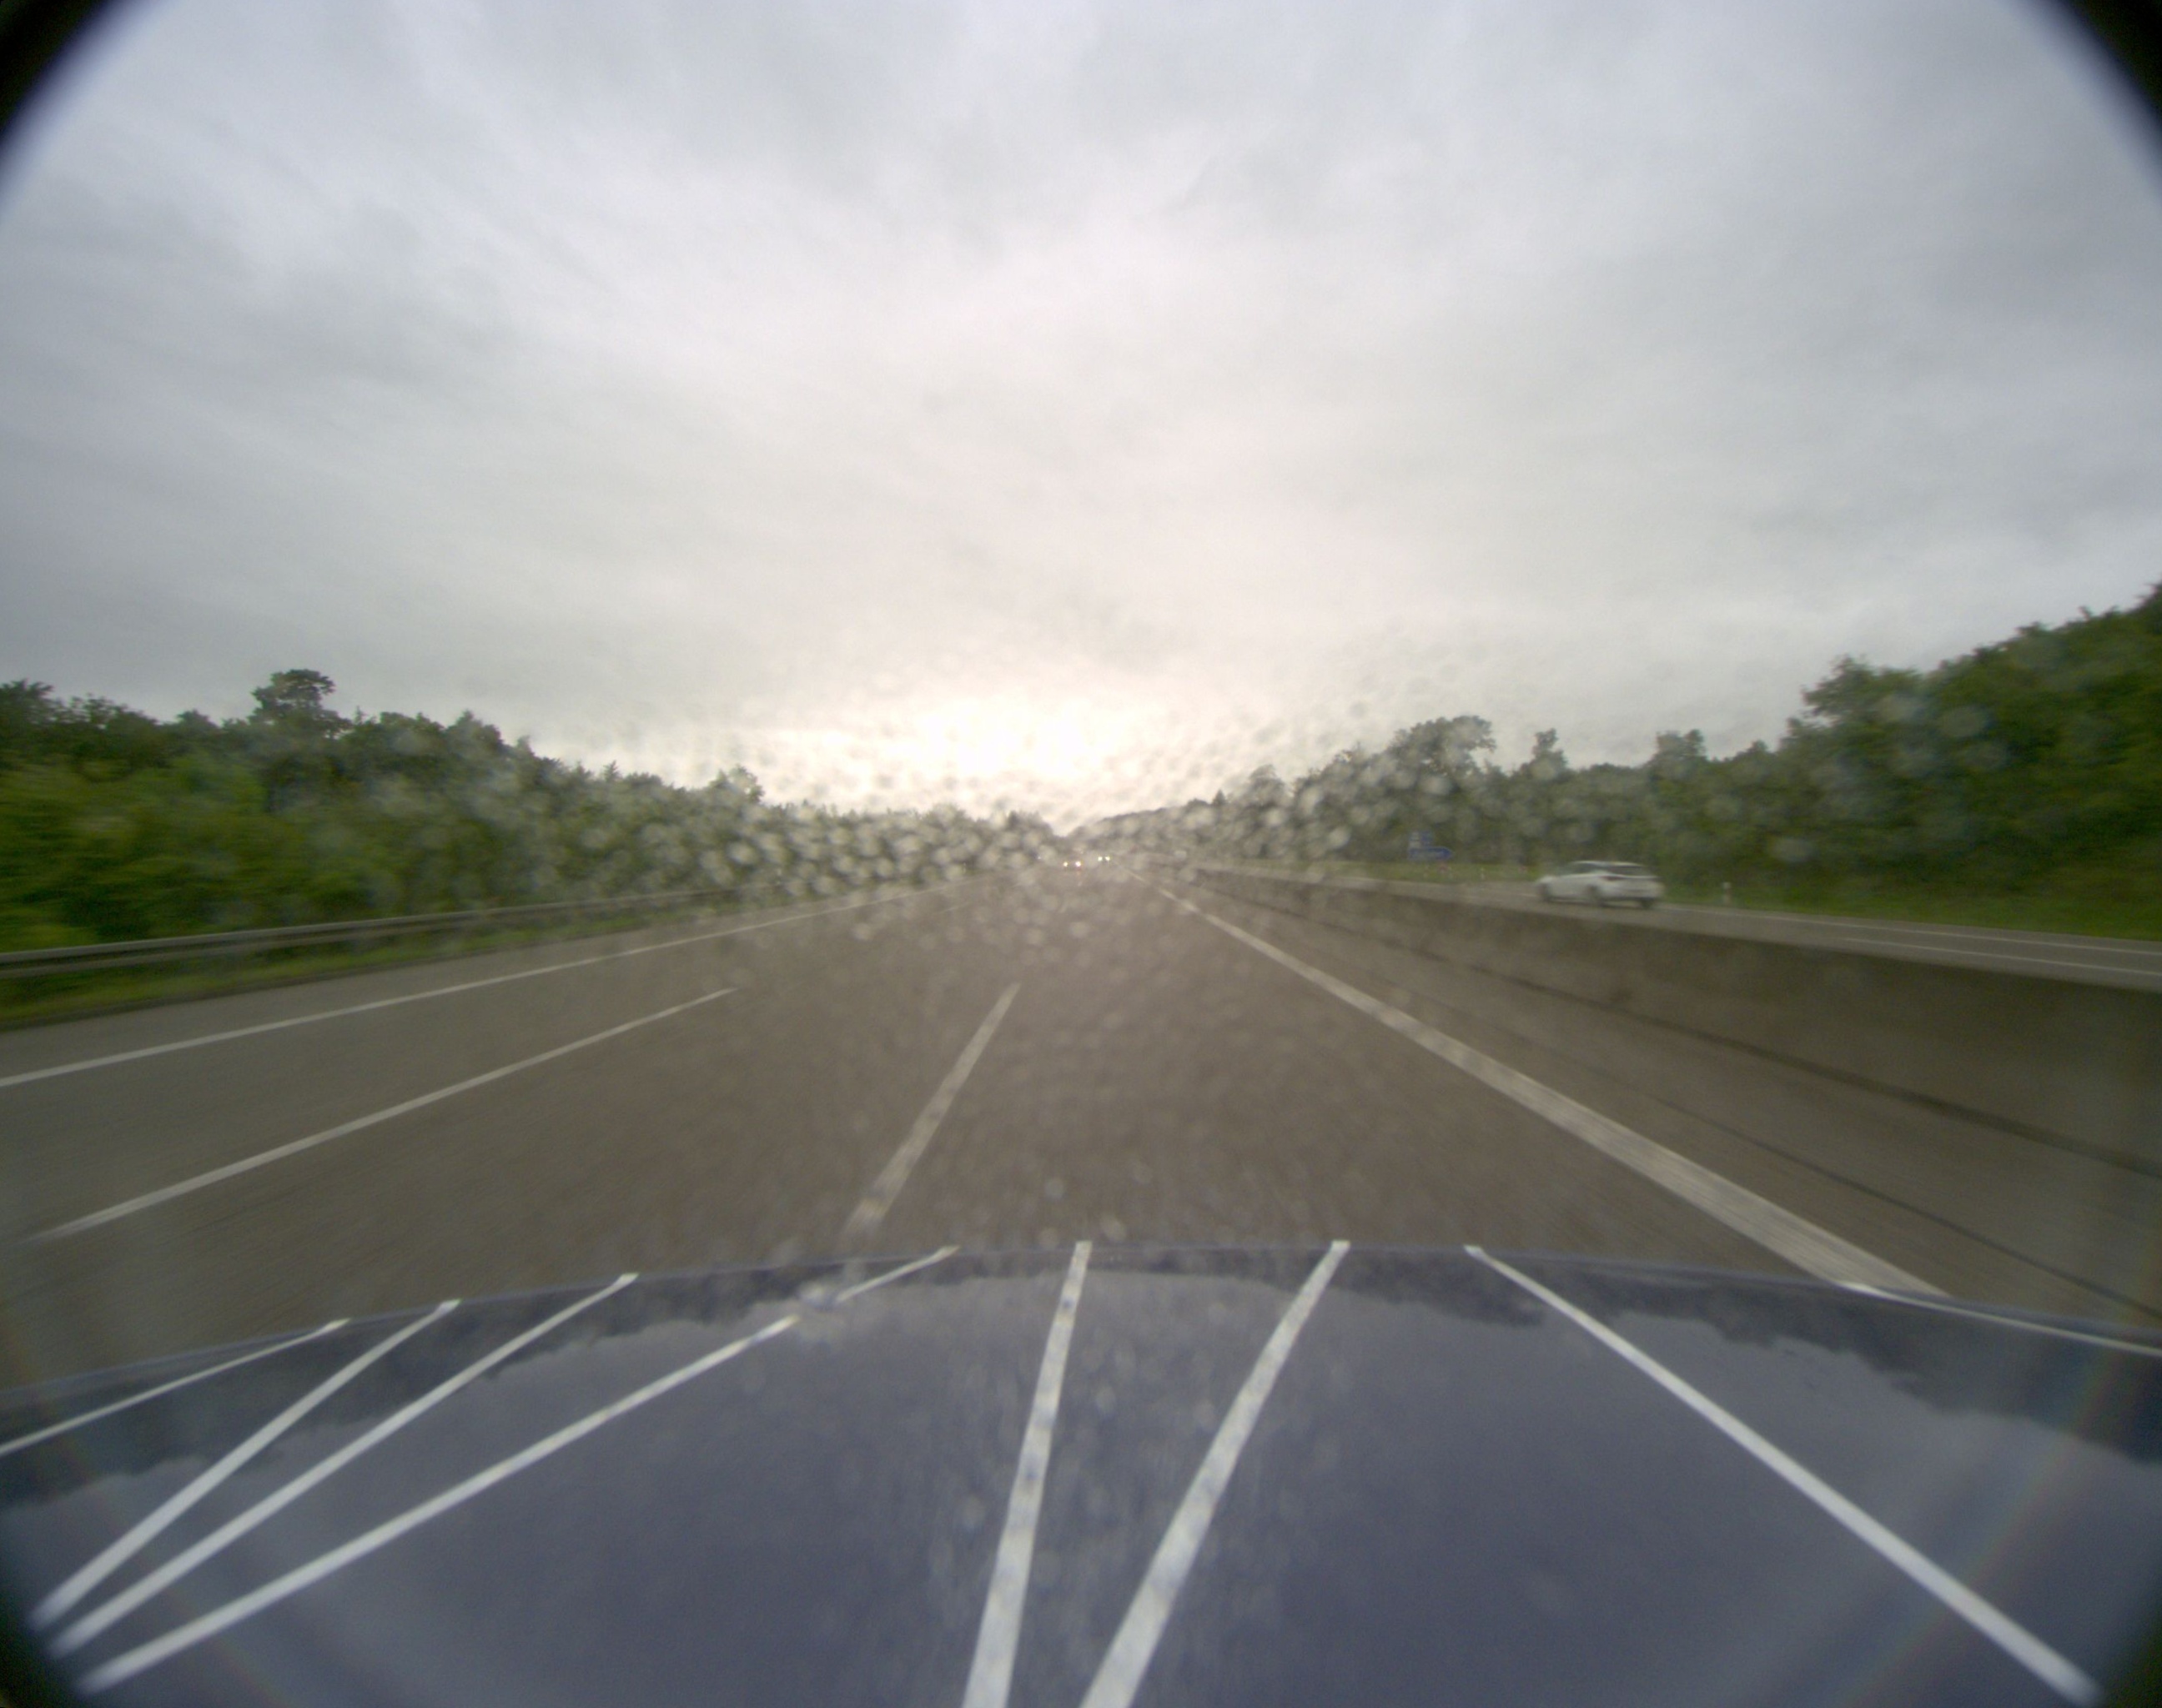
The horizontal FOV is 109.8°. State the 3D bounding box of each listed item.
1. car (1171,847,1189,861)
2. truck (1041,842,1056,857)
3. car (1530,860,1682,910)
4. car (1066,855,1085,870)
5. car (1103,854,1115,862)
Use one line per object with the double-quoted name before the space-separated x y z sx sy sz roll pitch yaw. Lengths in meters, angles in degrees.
"car" 15.873 0.017 121.974 1.999 2.002 5.760 -3 0 0
"truck" -8.643 -1.361 205.838 3.244 3.873 12.024 -1 1 1
"car" 17.017 0.939 24.949 1.802 1.442 4.629 0 0 1
"car" -0.508 0.842 78.060 1.932 1.521 4.298 0 -1 0
"car" 4.908 0.690 133.813 2.009 1.455 4.001 0 1 3
